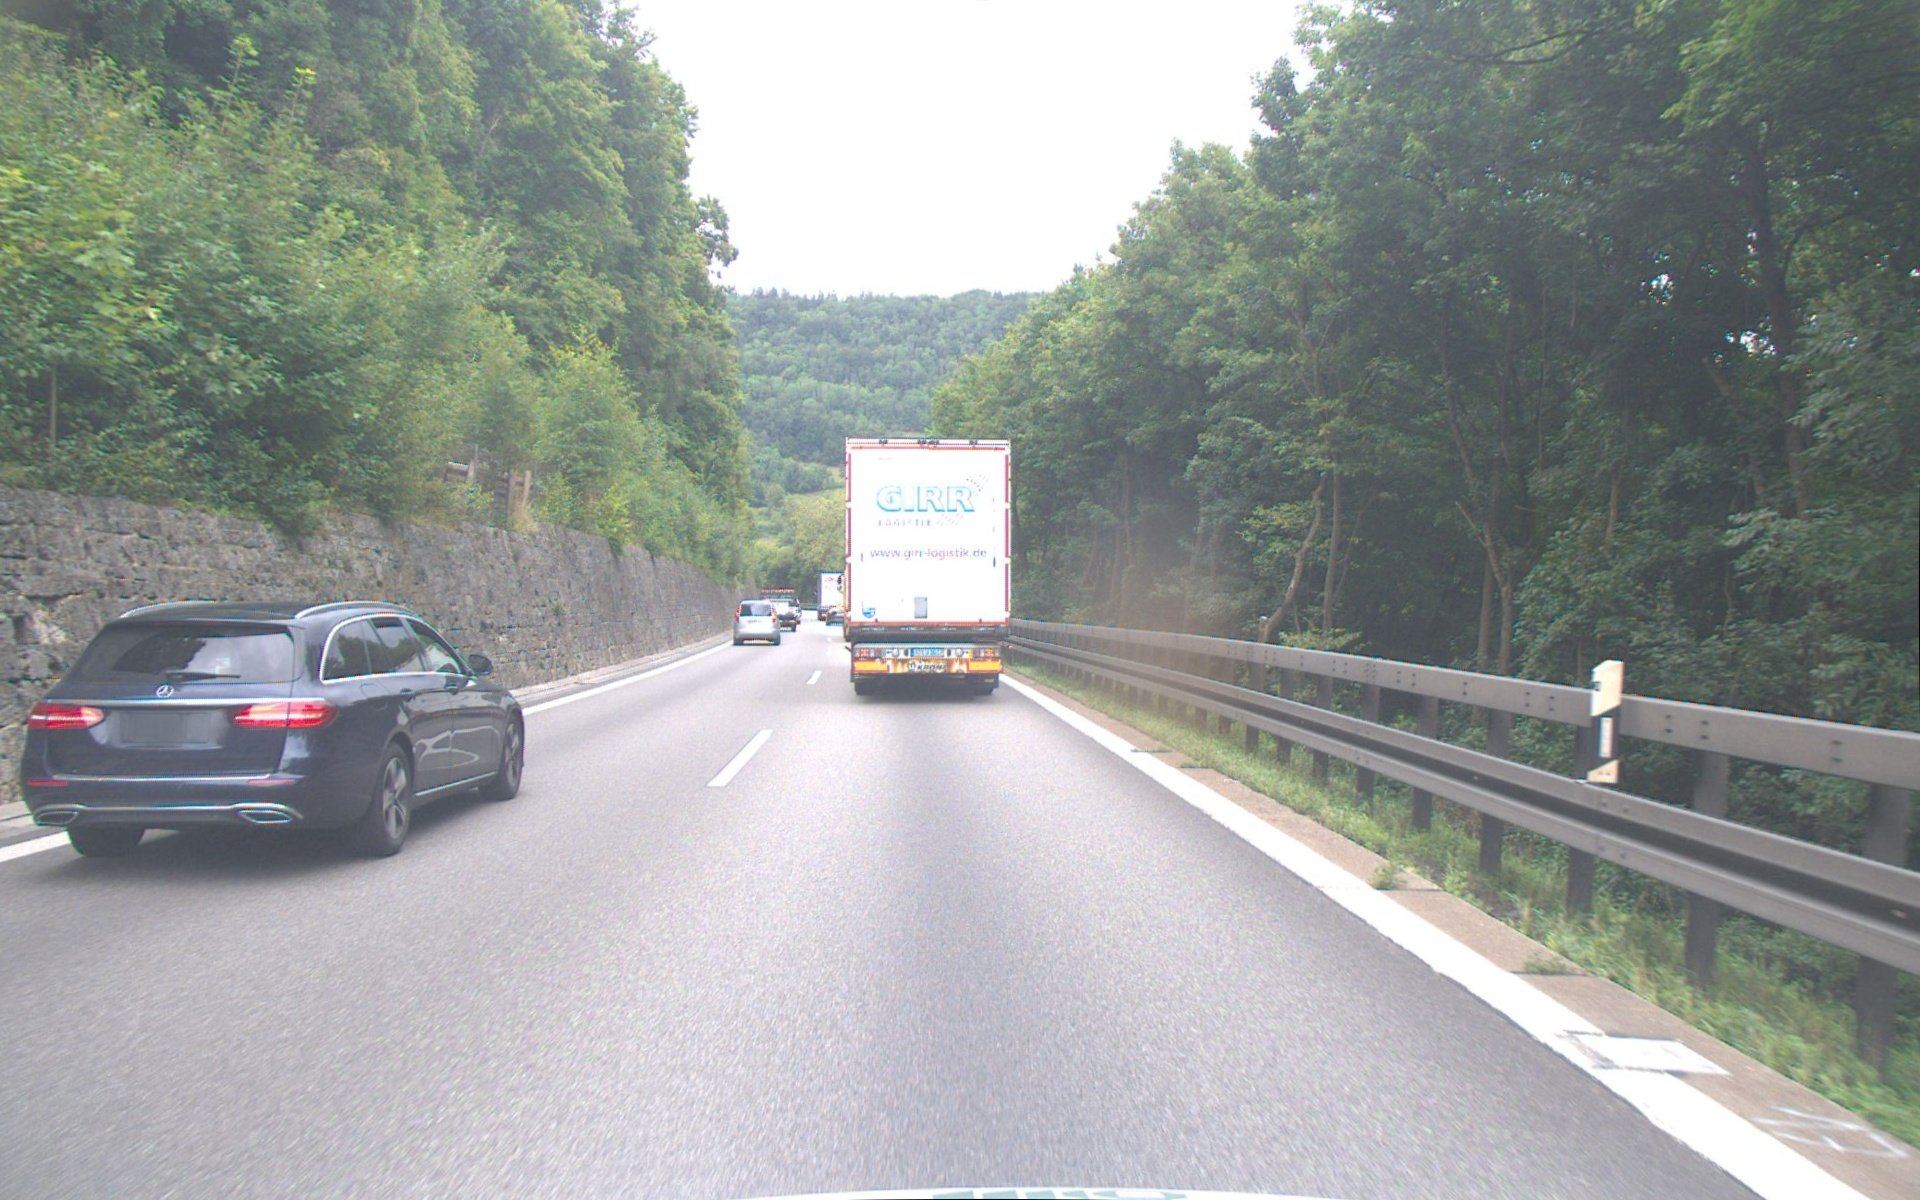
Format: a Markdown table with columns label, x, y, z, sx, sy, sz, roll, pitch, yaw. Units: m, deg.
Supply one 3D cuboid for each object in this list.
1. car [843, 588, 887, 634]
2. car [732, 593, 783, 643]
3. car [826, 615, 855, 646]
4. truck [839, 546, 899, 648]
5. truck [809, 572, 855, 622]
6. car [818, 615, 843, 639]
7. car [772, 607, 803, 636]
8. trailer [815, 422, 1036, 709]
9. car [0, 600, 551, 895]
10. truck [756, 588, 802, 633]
| label | x | y | z | sx | sy | sz | roll | pitch | yaw |
| --- | --- | --- | --- | --- | --- | --- | --- | --- | --- |
| car | -4.538 | 0.521 | 78.893 | 1.954 | 2.049 | 4.329 | 2 | -1 | -4 |
| car | -7.467 | 0.666 | 61.267 | 1.602 | 1.757 | 4.341 | 1 | -1 | -4 |
| car | -8.473 | 2.163 | 116.901 | 1.954 | 2.049 | 3.996 | 2 | -1 | -5 |
| truck | -3.692 | -0.062 | 67.883 | 2.189 | 3.870 | 6.818 | 2 | -1 | -3 |
| truck | -10.926 | -0.187 | 140.591 | 3.012 | 3.945 | 8.439 | 2 | -1 | -9 |
| car | -11.705 | 2.466 | 149.361 | 1.956 | 2.049 | 3.993 | 2 | -1 | -7 |
| car | -12.755 | 1.572 | 122.401 | 1.978 | 1.948 | 5.558 | 2 | 0 | -4 |
| trailer | -0.797 | -0.500 | 29.501 | 3.071 | 4.113 | 9.432 | 4 | 0 | -4 |
| car | -4.135 | 0.754 | 10.953 | 1.725 | 1.489 | 5.120 | 1 | 0 | -2 |
| truck | -9.970 | 0.602 | 91.523 | 2.304 | 2.313 | 6.841 | 2 | -1 | -6 |
